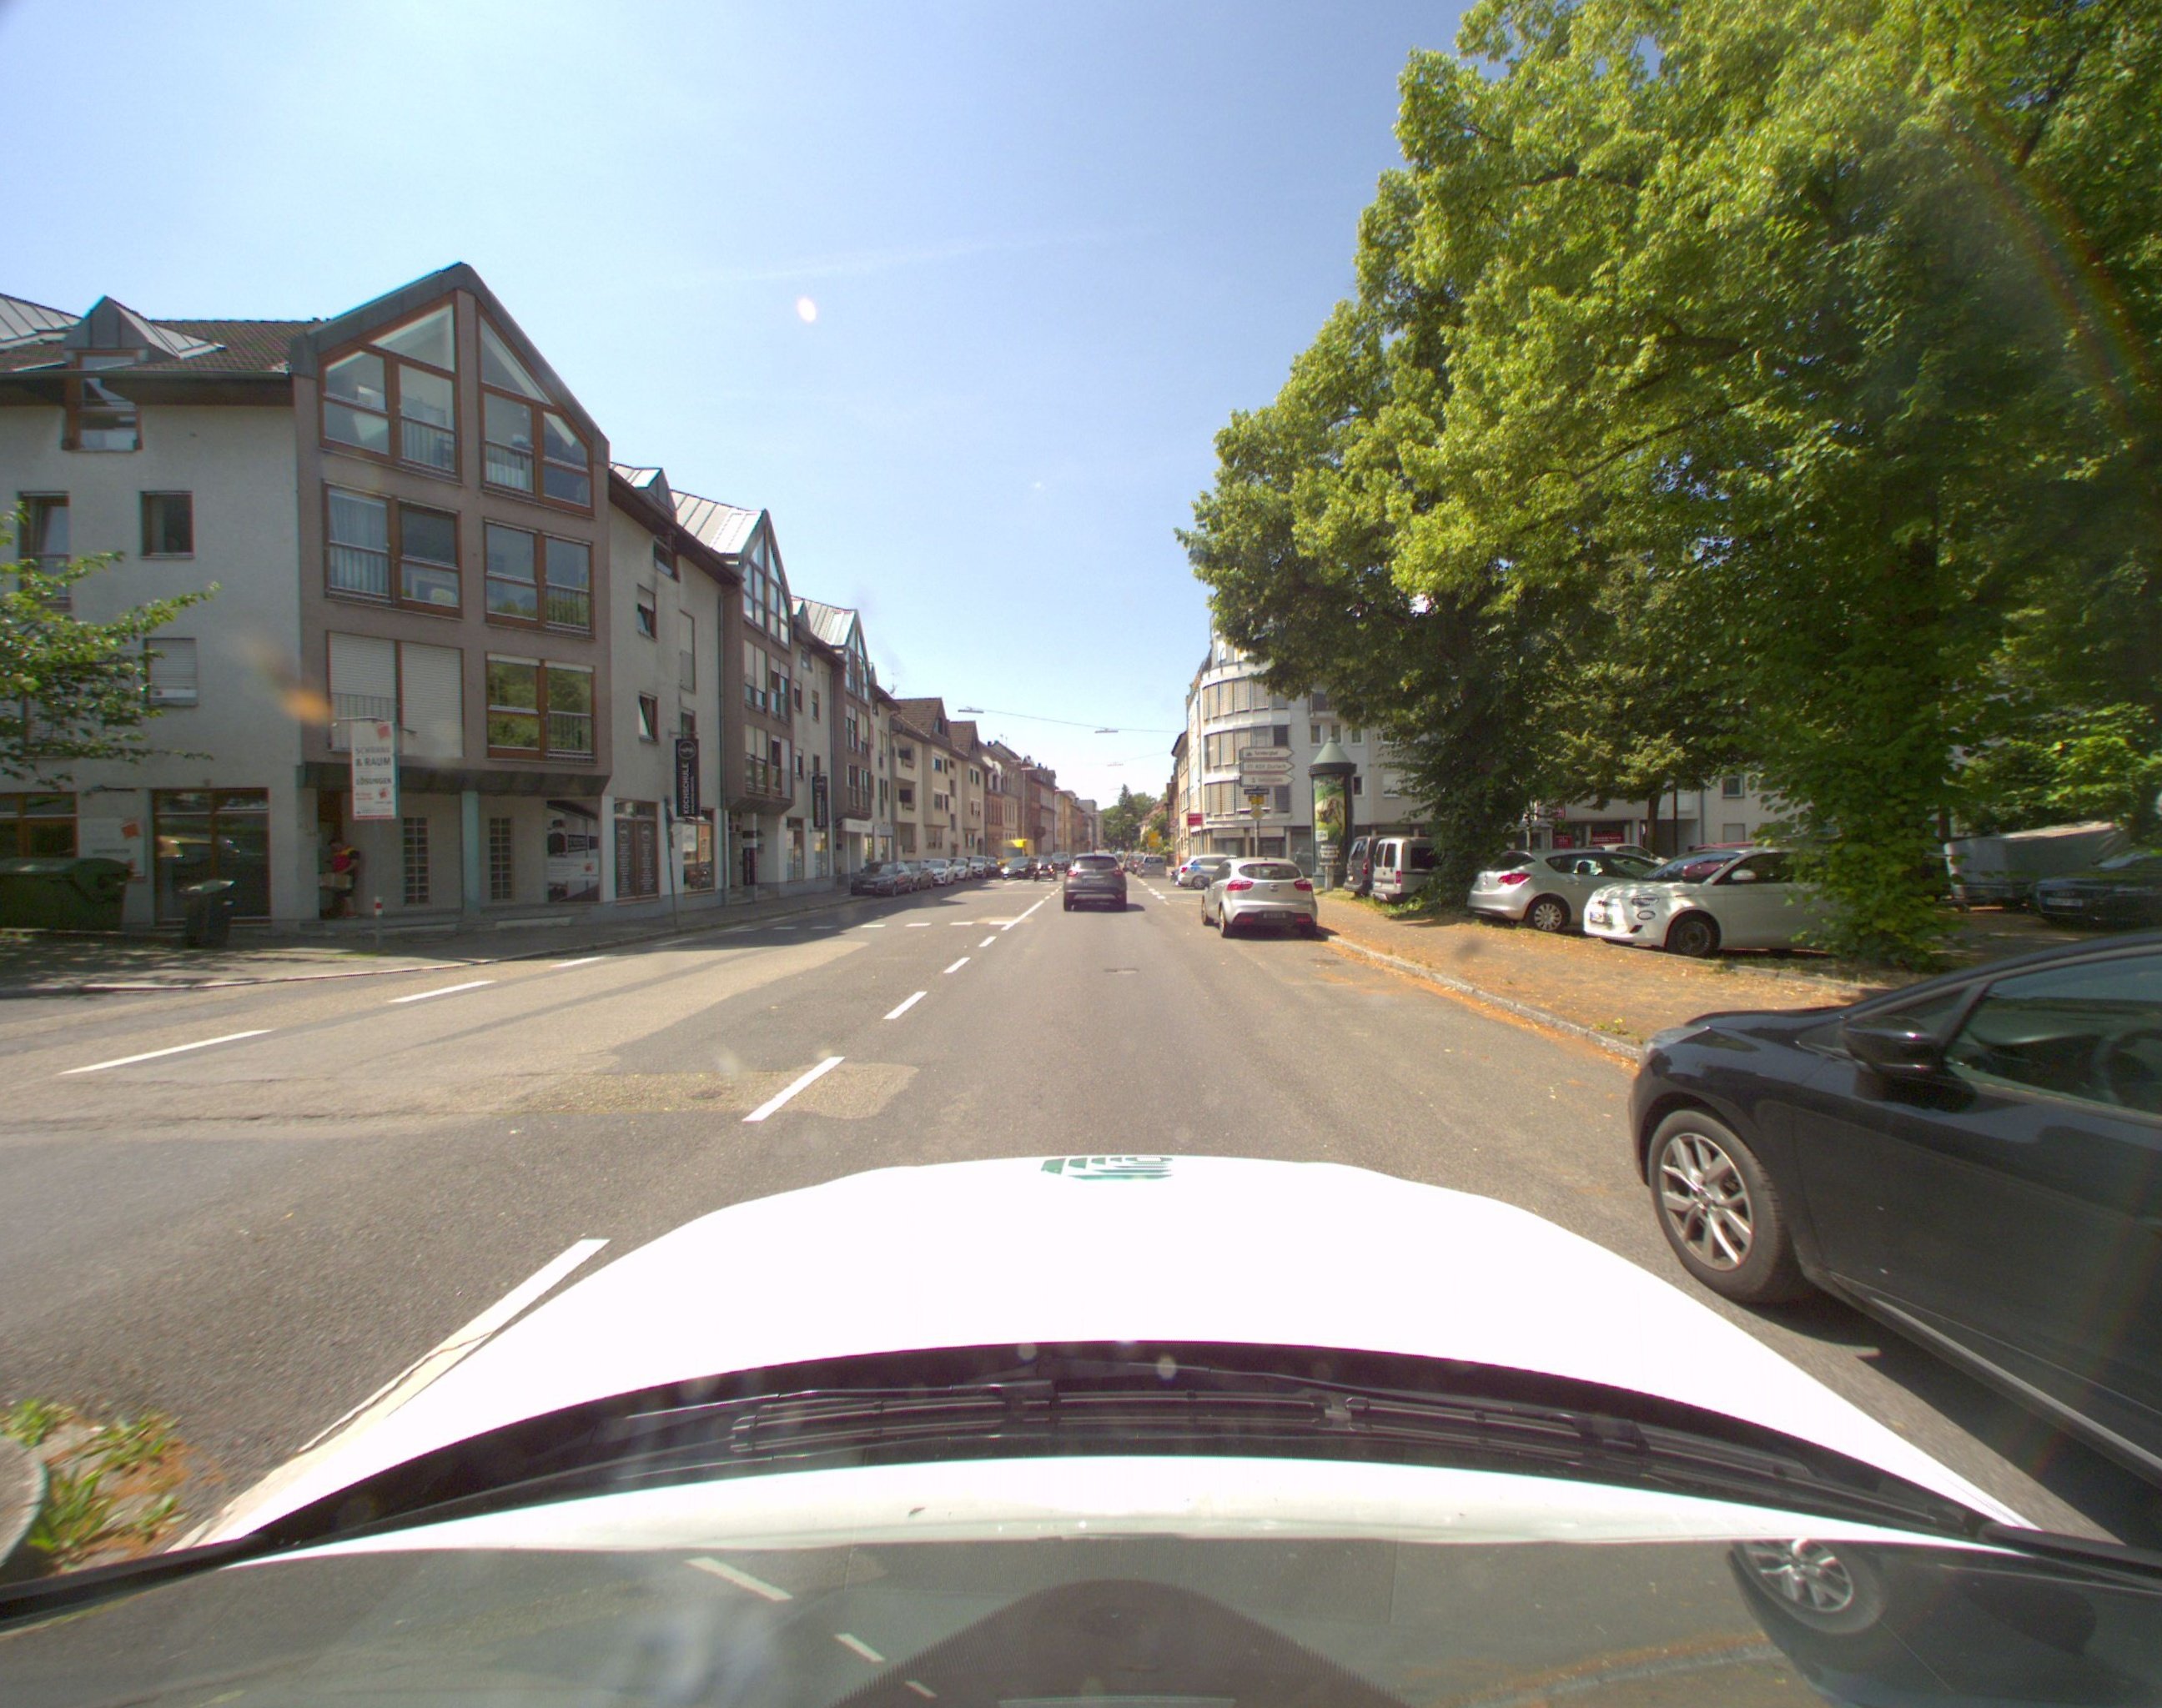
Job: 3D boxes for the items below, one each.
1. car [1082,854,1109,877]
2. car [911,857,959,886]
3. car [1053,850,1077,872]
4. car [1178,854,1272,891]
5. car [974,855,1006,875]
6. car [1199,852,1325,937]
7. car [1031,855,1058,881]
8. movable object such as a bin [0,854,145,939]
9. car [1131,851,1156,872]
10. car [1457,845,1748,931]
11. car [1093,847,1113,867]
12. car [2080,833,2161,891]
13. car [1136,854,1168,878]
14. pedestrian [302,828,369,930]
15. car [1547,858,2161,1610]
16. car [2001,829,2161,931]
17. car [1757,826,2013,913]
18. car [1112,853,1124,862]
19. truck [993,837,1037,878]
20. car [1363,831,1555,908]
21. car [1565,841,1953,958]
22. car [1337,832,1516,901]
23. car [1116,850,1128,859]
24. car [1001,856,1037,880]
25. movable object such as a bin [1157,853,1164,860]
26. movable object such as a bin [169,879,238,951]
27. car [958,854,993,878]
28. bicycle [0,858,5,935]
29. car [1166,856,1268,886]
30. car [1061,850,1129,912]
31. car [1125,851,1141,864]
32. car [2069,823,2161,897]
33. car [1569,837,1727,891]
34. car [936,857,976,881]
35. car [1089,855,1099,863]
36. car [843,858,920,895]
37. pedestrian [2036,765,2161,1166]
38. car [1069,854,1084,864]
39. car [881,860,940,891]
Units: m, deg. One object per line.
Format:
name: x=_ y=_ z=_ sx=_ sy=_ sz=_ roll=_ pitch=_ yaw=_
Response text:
car: x=1.146 y=0.833 z=61.040 sx=1.805 sy=1.620 sz=4.445 roll=-2 pitch=0 yaw=3
car: x=-8.092 y=0.959 z=45.464 sx=1.833 sy=1.489 sz=4.386 roll=1 pitch=0 yaw=1
car: x=-1.335 y=0.551 z=65.667 sx=1.807 sy=1.620 sz=4.438 roll=-2 pitch=0 yaw=-2
car: x=6.259 y=0.792 z=35.600 sx=3.964 sy=1.555 sz=1.574 roll=0 pitch=0 yaw=8
car: x=-7.165 y=0.872 z=64.609 sx=1.832 sy=1.488 sz=4.389 roll=1 pitch=0 yaw=2
car: x=3.462 y=0.729 z=16.257 sx=1.760 sy=1.485 sz=3.892 roll=0 pitch=0 yaw=2
car: x=-2.141 y=0.816 z=47.584 sx=1.493 sy=1.459 sz=2.719 roll=-1 pitch=0 yaw=-3
movable object such as a bin: x=-17.059 y=0.686 z=13.716 sx=1.271 sy=1.367 sz=1.085 roll=0 pitch=0 yaw=-4
car: x=4.681 y=0.561 z=61.454 sx=1.705 sy=1.473 sz=4.441 roll=-1 pitch=0 yaw=3
car: x=8.968 y=0.560 z=14.244 sx=3.975 sy=1.398 sz=1.807 roll=0 pitch=0 yaw=-1
car: x=2.370 y=0.344 z=86.834 sx=1.985 sy=2.013 sz=4.470 roll=-2 pitch=0 yaw=3
car: x=32.710 y=0.221 z=24.063 sx=3.764 sy=1.668 sz=1.724 roll=-1 pitch=-1 yaw=13
car: x=4.526 y=0.738 z=52.277 sx=1.672 sy=1.454 sz=4.142 roll=1 pitch=0 yaw=0
pedestrian: x=-15.010 y=0.493 z=16.424 sx=0.597 sy=2.014 sz=0.837 roll=0 pitch=0 yaw=-6
car: x=2.921 y=0.742 z=1.753 sx=1.657 sy=1.428 sz=4.002 roll=-1 pitch=0 yaw=2
car: x=17.579 y=0.341 z=12.978 sx=3.975 sy=1.483 sz=1.680 roll=-2 pitch=-1 yaw=-1
car: x=17.414 y=0.321 z=17.769 sx=3.977 sy=1.679 sz=1.700 roll=-2 pitch=-1 yaw=-2
car: x=6.159 y=0.576 z=134.415 sx=1.754 sy=1.560 sz=3.949 roll=-1 pitch=0 yaw=6
truck: x=-4.887 y=0.263 z=61.446 sx=2.216 sy=2.771 sz=7.570 roll=-3 pitch=0 yaw=3
car: x=8.841 y=0.350 z=19.219 sx=3.755 sy=1.667 sz=1.662 roll=-1 pitch=0 yaw=-4
car: x=9.236 y=0.595 z=11.346 sx=3.972 sy=1.428 sz=1.669 roll=-1 pitch=0 yaw=1
car: x=9.194 y=0.327 z=21.914 sx=3.974 sy=1.751 sz=2.016 roll=0 pitch=0 yaw=0
car: x=7.324 y=0.077 z=145.224 sx=1.754 sy=1.560 sz=3.949 roll=-1 pitch=0 yaw=6
car: x=-3.993 y=0.885 z=52.905 sx=1.735 sy=1.419 sz=4.227 roll=-1 pitch=0 yaw=3
movable object such as a bin: x=10.343 y=0.322 z=105.991 sx=0.785 sy=0.907 sz=0.539 roll=-1 pitch=0 yaw=1
movable object such as a bin: x=-14.314 y=0.979 z=13.298 sx=0.676 sy=1.097 sz=0.625 roll=-1 pitch=0 yaw=-39
car: x=-7.560 y=0.825 z=58.656 sx=1.833 sy=1.596 sz=4.387 roll=1 pitch=0 yaw=1
bicycle: x=-18.372 y=0.703 z=12.617 sx=2.251 sy=1.235 sz=0.756 roll=-1 pitch=0 yaw=-3
car: x=6.442 y=0.784 z=39.032 sx=4.567 sy=1.365 sz=1.999 roll=0 pitch=0 yaw=-1
car: x=0.321 y=0.718 z=23.572 sx=1.740 sy=1.616 sz=3.996 roll=0 pitch=0 yaw=-2
car: x=6.749 y=0.422 z=106.124 sx=1.984 sy=1.662 sz=4.631 roll=-1 pitch=0 yaw=4
car: x=22.968 y=0.073 z=16.503 sx=3.786 sy=1.459 sz=1.737 roll=-1 pitch=0 yaw=-1
car: x=18.462 y=0.321 z=26.630 sx=3.975 sy=1.554 sz=1.680 roll=-2 pitch=-1 yaw=-1
car: x=-8.085 y=0.933 z=53.018 sx=1.833 sy=1.489 sz=4.387 roll=1 pitch=0 yaw=1
car: x=2.731 y=1.001 z=172.988 sx=1.898 sy=1.620 sz=4.303 roll=-3 pitch=0 yaw=1
car: x=-8.464 y=0.919 z=35.037 sx=1.832 sy=1.447 sz=4.972 roll=1 pitch=0 yaw=3
pedestrian: x=5.066 y=0.491 z=3.680 sx=0.615 sy=1.764 sz=0.737 roll=0 pitch=-1 yaw=1
car: x=-0.721 y=0.771 z=128.105 sx=1.831 sy=1.422 sz=4.565 roll=-4 pitch=-1 yaw=5
car: x=-8.341 y=1.020 z=40.172 sx=1.833 sy=1.384 sz=4.329 roll=1 pitch=0 yaw=2
